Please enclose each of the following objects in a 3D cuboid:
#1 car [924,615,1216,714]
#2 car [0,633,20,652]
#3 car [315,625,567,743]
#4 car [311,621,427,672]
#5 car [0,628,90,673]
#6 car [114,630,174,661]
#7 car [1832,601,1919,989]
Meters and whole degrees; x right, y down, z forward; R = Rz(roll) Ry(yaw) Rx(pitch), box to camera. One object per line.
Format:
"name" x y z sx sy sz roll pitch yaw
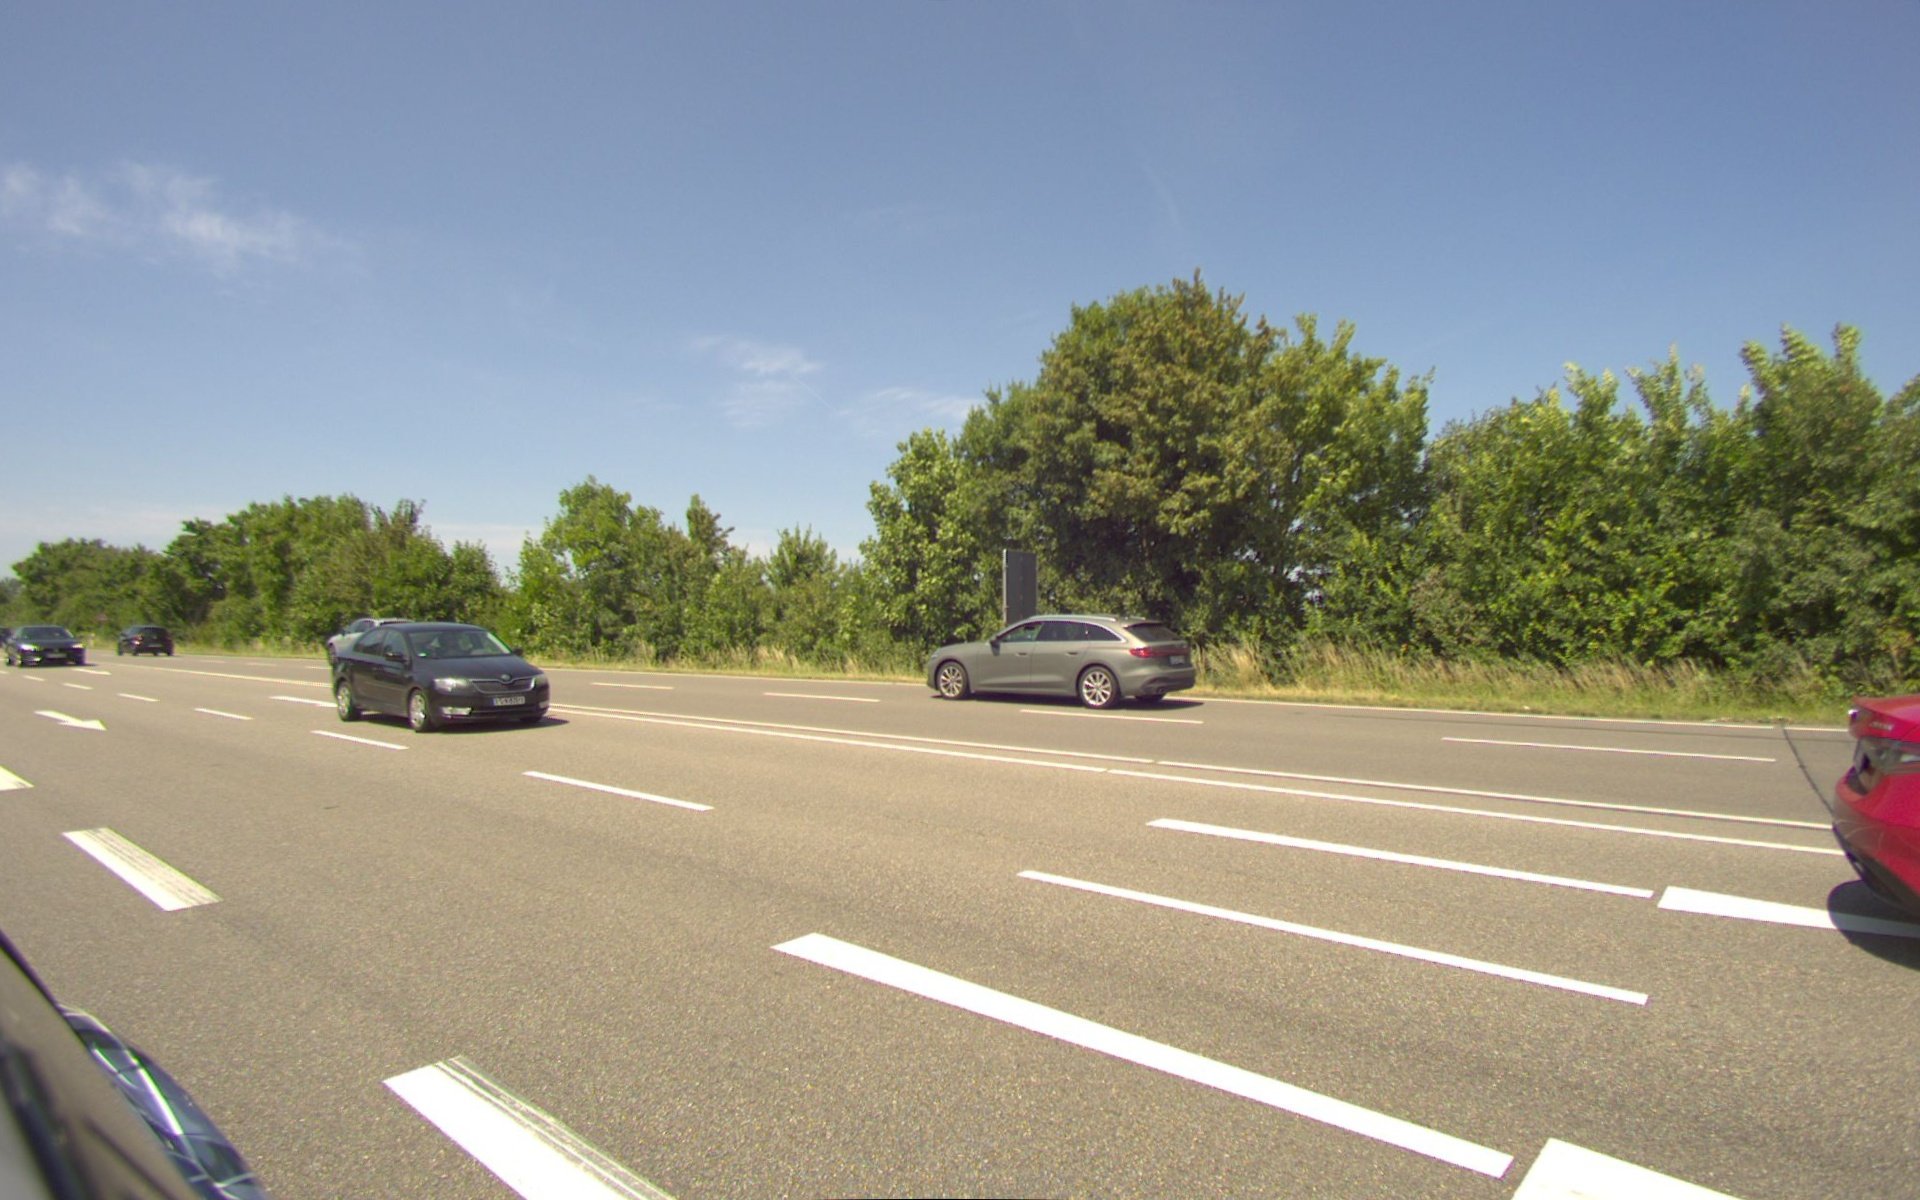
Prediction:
"car" 1.720 0.975 16.734 4.526 1.409 1.860 -1 -1 39
"car" -81.665 3.591 86.337 3.784 1.480 1.507 0 0 38
"car" -7.570 1.084 14.557 4.464 1.422 1.658 -1 -1 40
"car" -20.800 1.580 35.567 4.563 1.652 2.008 -1 -1 39
"car" -32.355 1.737 35.685 4.522 1.458 1.870 -1 -1 40
"car" -41.077 2.267 50.950 3.554 1.499 1.629 -1 -1 38
"car" 5.746 0.674 3.100 4.562 1.432 1.732 -2 -1 40
